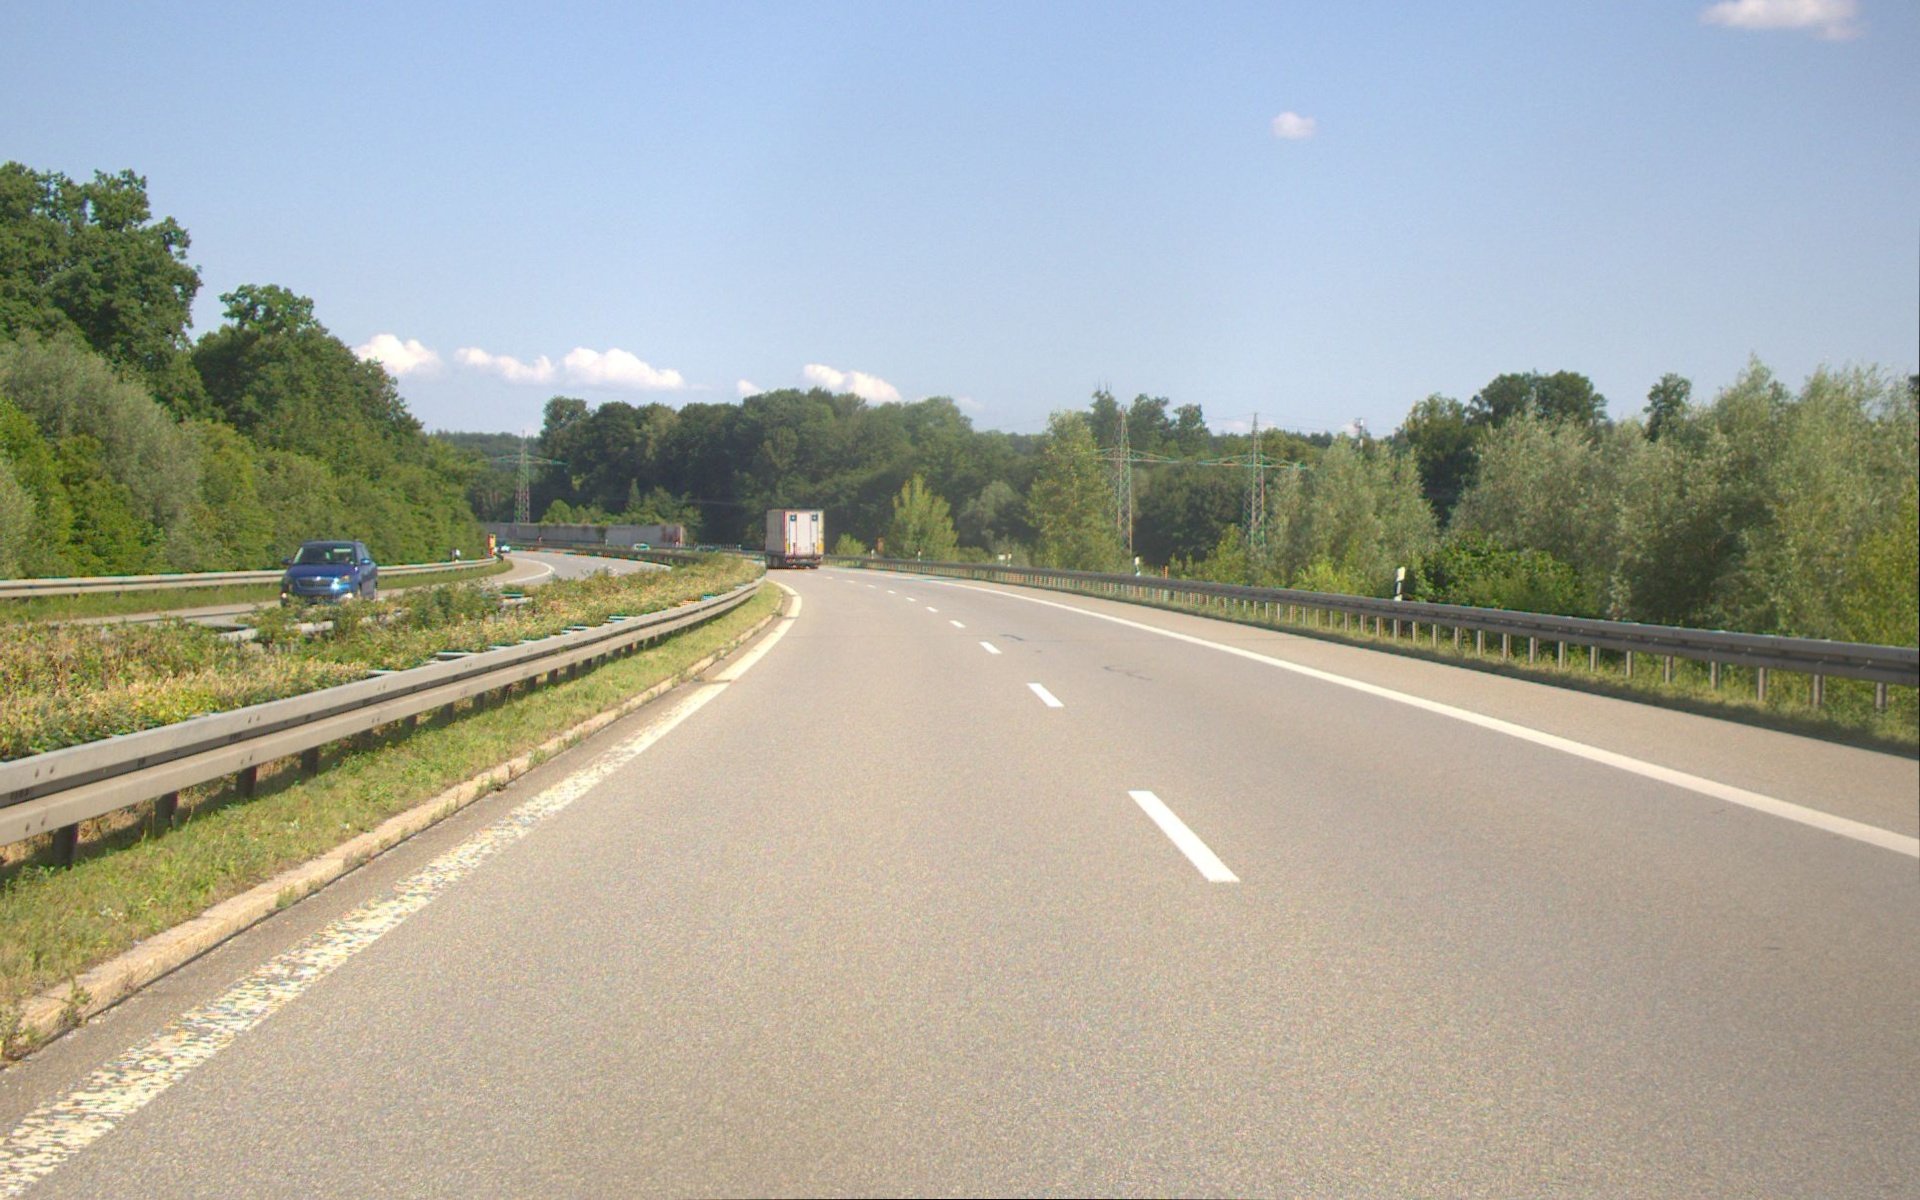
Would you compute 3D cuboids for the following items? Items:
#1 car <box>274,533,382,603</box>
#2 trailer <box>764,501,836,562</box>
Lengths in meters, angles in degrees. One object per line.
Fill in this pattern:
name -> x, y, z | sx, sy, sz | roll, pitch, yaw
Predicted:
car -> -13.341, -0.700, 72.758 | 1.676, 1.436, 4.001 | -1, 1, -2
trailer -> -11.004, -4.725, 235.690 | 2.883, 4.052, 12.424 | 0, 1, -12
